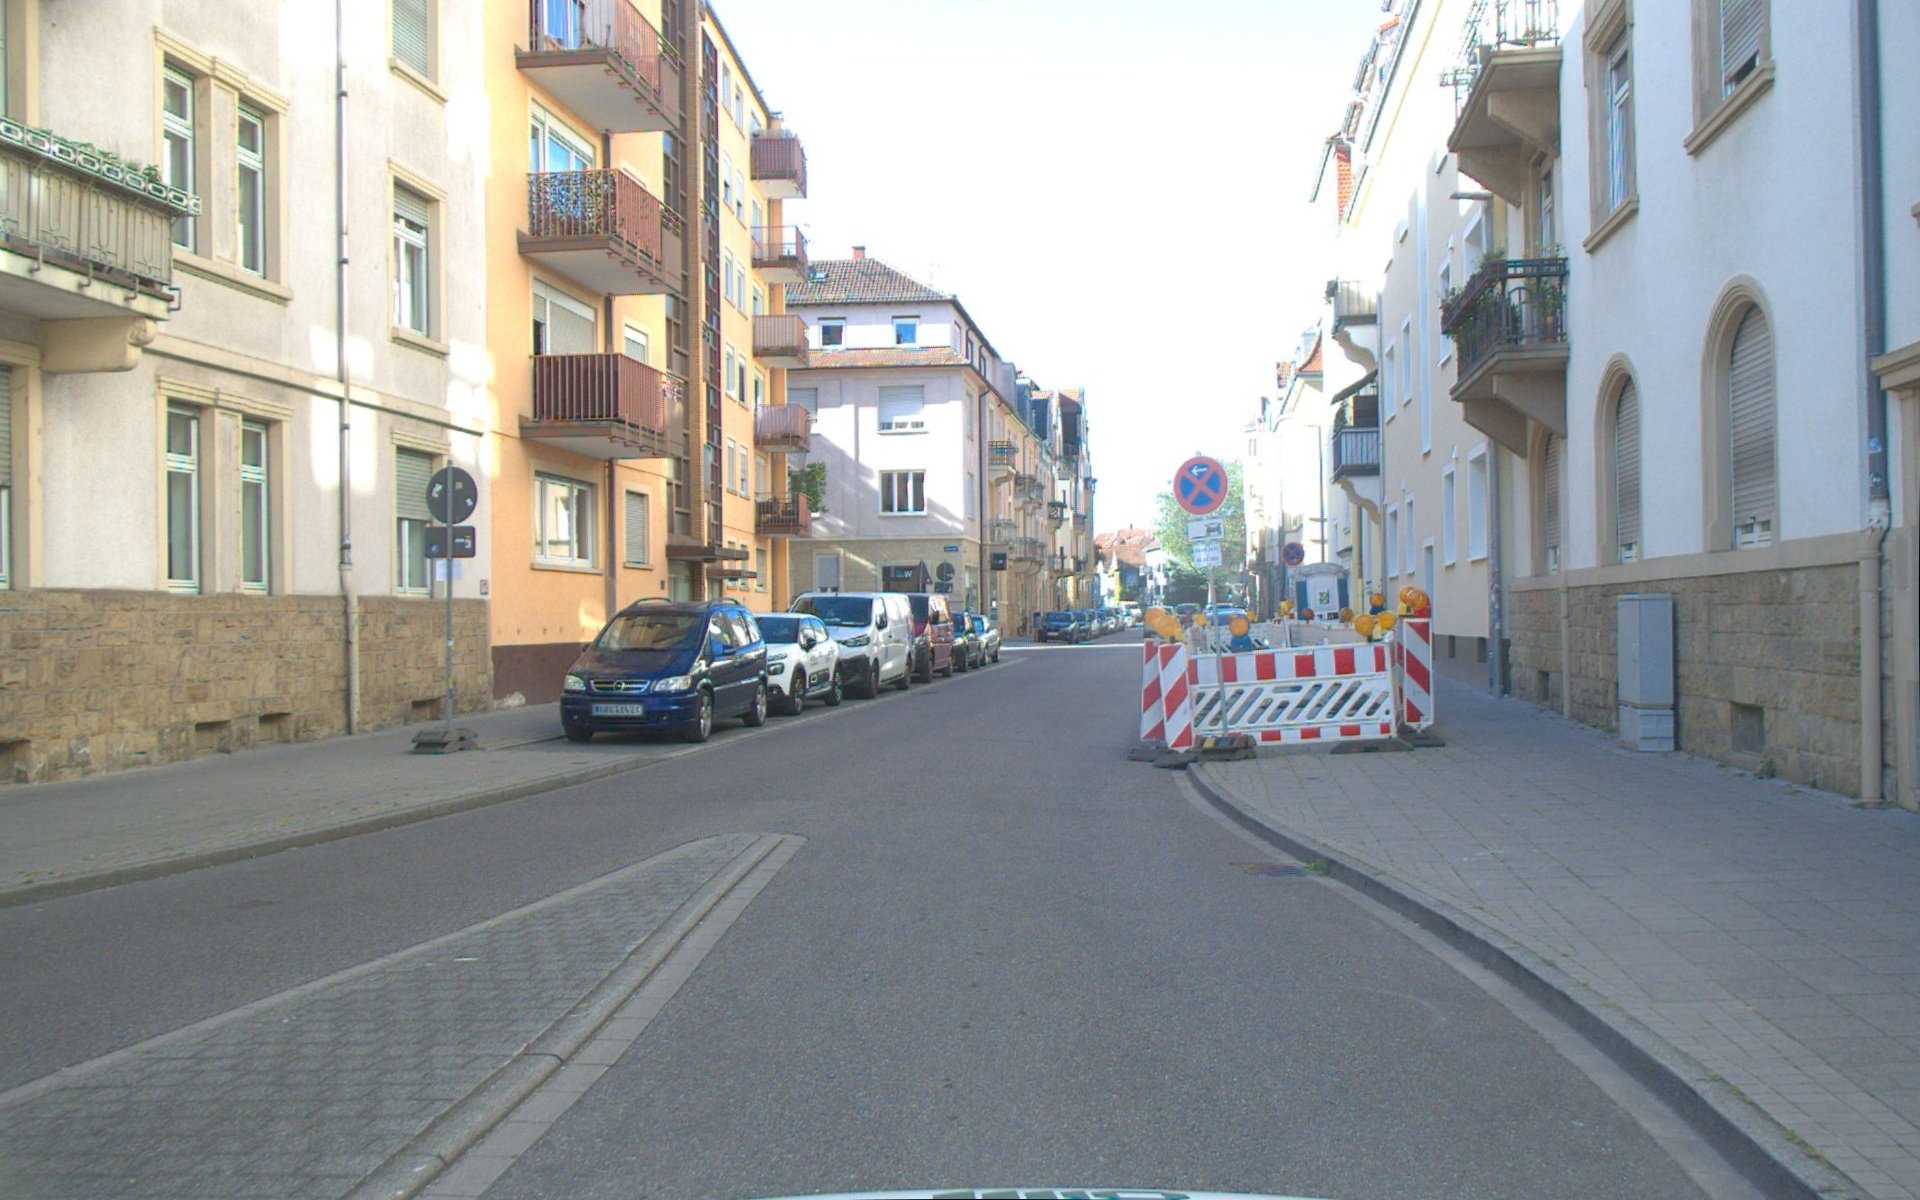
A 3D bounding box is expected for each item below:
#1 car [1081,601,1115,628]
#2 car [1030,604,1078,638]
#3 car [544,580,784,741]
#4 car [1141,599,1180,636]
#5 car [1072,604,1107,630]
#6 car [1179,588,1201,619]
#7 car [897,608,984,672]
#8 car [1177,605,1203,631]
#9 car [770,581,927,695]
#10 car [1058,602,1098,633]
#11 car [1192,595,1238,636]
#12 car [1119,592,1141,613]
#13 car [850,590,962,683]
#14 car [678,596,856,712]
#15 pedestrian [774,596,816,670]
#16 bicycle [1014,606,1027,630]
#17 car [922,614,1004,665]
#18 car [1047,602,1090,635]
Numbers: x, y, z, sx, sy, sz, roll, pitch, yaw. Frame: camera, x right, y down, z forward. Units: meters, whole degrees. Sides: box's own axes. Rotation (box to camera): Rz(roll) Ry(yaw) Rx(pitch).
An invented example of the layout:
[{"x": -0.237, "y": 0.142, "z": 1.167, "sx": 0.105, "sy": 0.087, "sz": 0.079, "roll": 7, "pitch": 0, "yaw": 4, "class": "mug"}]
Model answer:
[{"x": 8.913, "y": 0.963, "z": 106.748, "sx": 1.961, "sy": 1.647, "sz": 4.490, "roll": 1, "pitch": -1, "yaw": 7, "class": "car"}, {"x": 4.316, "y": 0.963, "z": 75.401, "sx": 1.643, "sy": 1.451, "sz": 4.277, "roll": 1, "pitch": -1, "yaw": 10, "class": "car"}, {"x": -3.562, "y": 0.685, "z": 20.729, "sx": 1.725, "sy": 1.802, "sz": 4.297, "roll": 0, "pitch": 0, "yaw": 8, "class": "car"}, {"x": 10.934, "y": 0.970, "z": 89.876, "sx": 1.961, "sy": 1.947, "sz": 4.490, "roll": 1, "pitch": -1, "yaw": 8, "class": "car"}, {"x": 8.003, "y": 1.076, "z": 102.072, "sx": 1.936, "sy": 1.508, "sz": 4.331, "roll": 1, "pitch": -1, "yaw": 7, "class": "car"}, {"x": 20.504, "y": 0.305, "z": 147.185, "sx": 1.799, "sy": 2.578, "sz": 4.178, "roll": -2, "pitch": -2, "yaw": 9, "class": "car"}, {"x": -0.466, "y": 1.001, "z": 43.056, "sx": 1.725, "sy": 1.529, "sz": 4.003, "roll": -2, "pitch": 0, "yaw": 7, "class": "car"}, {"x": 18.272, "y": 1.445, "z": 131.525, "sx": 1.961, "sy": 2.035, "sz": 4.490, "roll": 1, "pitch": -1, "yaw": 7, "class": "car"}, {"x": -1.987, "y": 0.668, "z": 31.230, "sx": 1.933, "sy": 1.959, "sz": 5.313, "roll": 0, "pitch": 0, "yaw": 8, "class": "car"}, {"x": 6.697, "y": 1.012, "z": 93.428, "sx": 1.961, "sy": 1.647, "sz": 4.490, "roll": 1, "pitch": -1, "yaw": 7, "class": "car"}, {"x": 11.484, "y": 0.728, "z": 74.210, "sx": 1.872, "sy": 1.673, "sz": 4.777, "roll": -2, "pitch": -2, "yaw": 10, "class": "car"}, {"x": 17.103, "y": 0.245, "z": 166.204, "sx": 1.961, "sy": 2.035, "sz": 4.490, "roll": 1, "pitch": -1, "yaw": 7, "class": "car"}, {"x": -1.140, "y": 0.774, "z": 37.385, "sx": 1.725, "sy": 1.959, "sz": 4.938, "roll": 0, "pitch": 0, "yaw": 8, "class": "car"}, {"x": -2.906, "y": 0.778, "z": 25.817, "sx": 1.725, "sy": 1.649, "sz": 4.298, "roll": 0, "pitch": 0, "yaw": 8, "class": "car"}, {"x": -4.178, "y": 0.839, "z": 41.911, "sx": 0.904, "sy": 1.849, "sz": 0.995, "roll": 0, "pitch": -1, "yaw": 5, "class": "pedestrian"}, {"x": 3.350, "y": 0.985, "z": 91.666, "sx": 0.529, "sy": 1.324, "sz": 1.868, "roll": 0, "pitch": 0, "yaw": 9, "class": "bicycle"}, {"x": 0.146, "y": 1.112, "z": 48.149, "sx": 1.725, "sy": 1.402, "sz": 4.482, "roll": 0, "pitch": -1, "yaw": 9, "class": "car"}, {"x": 5.710, "y": 0.979, "z": 86.425, "sx": 1.961, "sy": 1.610, "sz": 4.490, "roll": 1, "pitch": -1, "yaw": 7, "class": "car"}]
